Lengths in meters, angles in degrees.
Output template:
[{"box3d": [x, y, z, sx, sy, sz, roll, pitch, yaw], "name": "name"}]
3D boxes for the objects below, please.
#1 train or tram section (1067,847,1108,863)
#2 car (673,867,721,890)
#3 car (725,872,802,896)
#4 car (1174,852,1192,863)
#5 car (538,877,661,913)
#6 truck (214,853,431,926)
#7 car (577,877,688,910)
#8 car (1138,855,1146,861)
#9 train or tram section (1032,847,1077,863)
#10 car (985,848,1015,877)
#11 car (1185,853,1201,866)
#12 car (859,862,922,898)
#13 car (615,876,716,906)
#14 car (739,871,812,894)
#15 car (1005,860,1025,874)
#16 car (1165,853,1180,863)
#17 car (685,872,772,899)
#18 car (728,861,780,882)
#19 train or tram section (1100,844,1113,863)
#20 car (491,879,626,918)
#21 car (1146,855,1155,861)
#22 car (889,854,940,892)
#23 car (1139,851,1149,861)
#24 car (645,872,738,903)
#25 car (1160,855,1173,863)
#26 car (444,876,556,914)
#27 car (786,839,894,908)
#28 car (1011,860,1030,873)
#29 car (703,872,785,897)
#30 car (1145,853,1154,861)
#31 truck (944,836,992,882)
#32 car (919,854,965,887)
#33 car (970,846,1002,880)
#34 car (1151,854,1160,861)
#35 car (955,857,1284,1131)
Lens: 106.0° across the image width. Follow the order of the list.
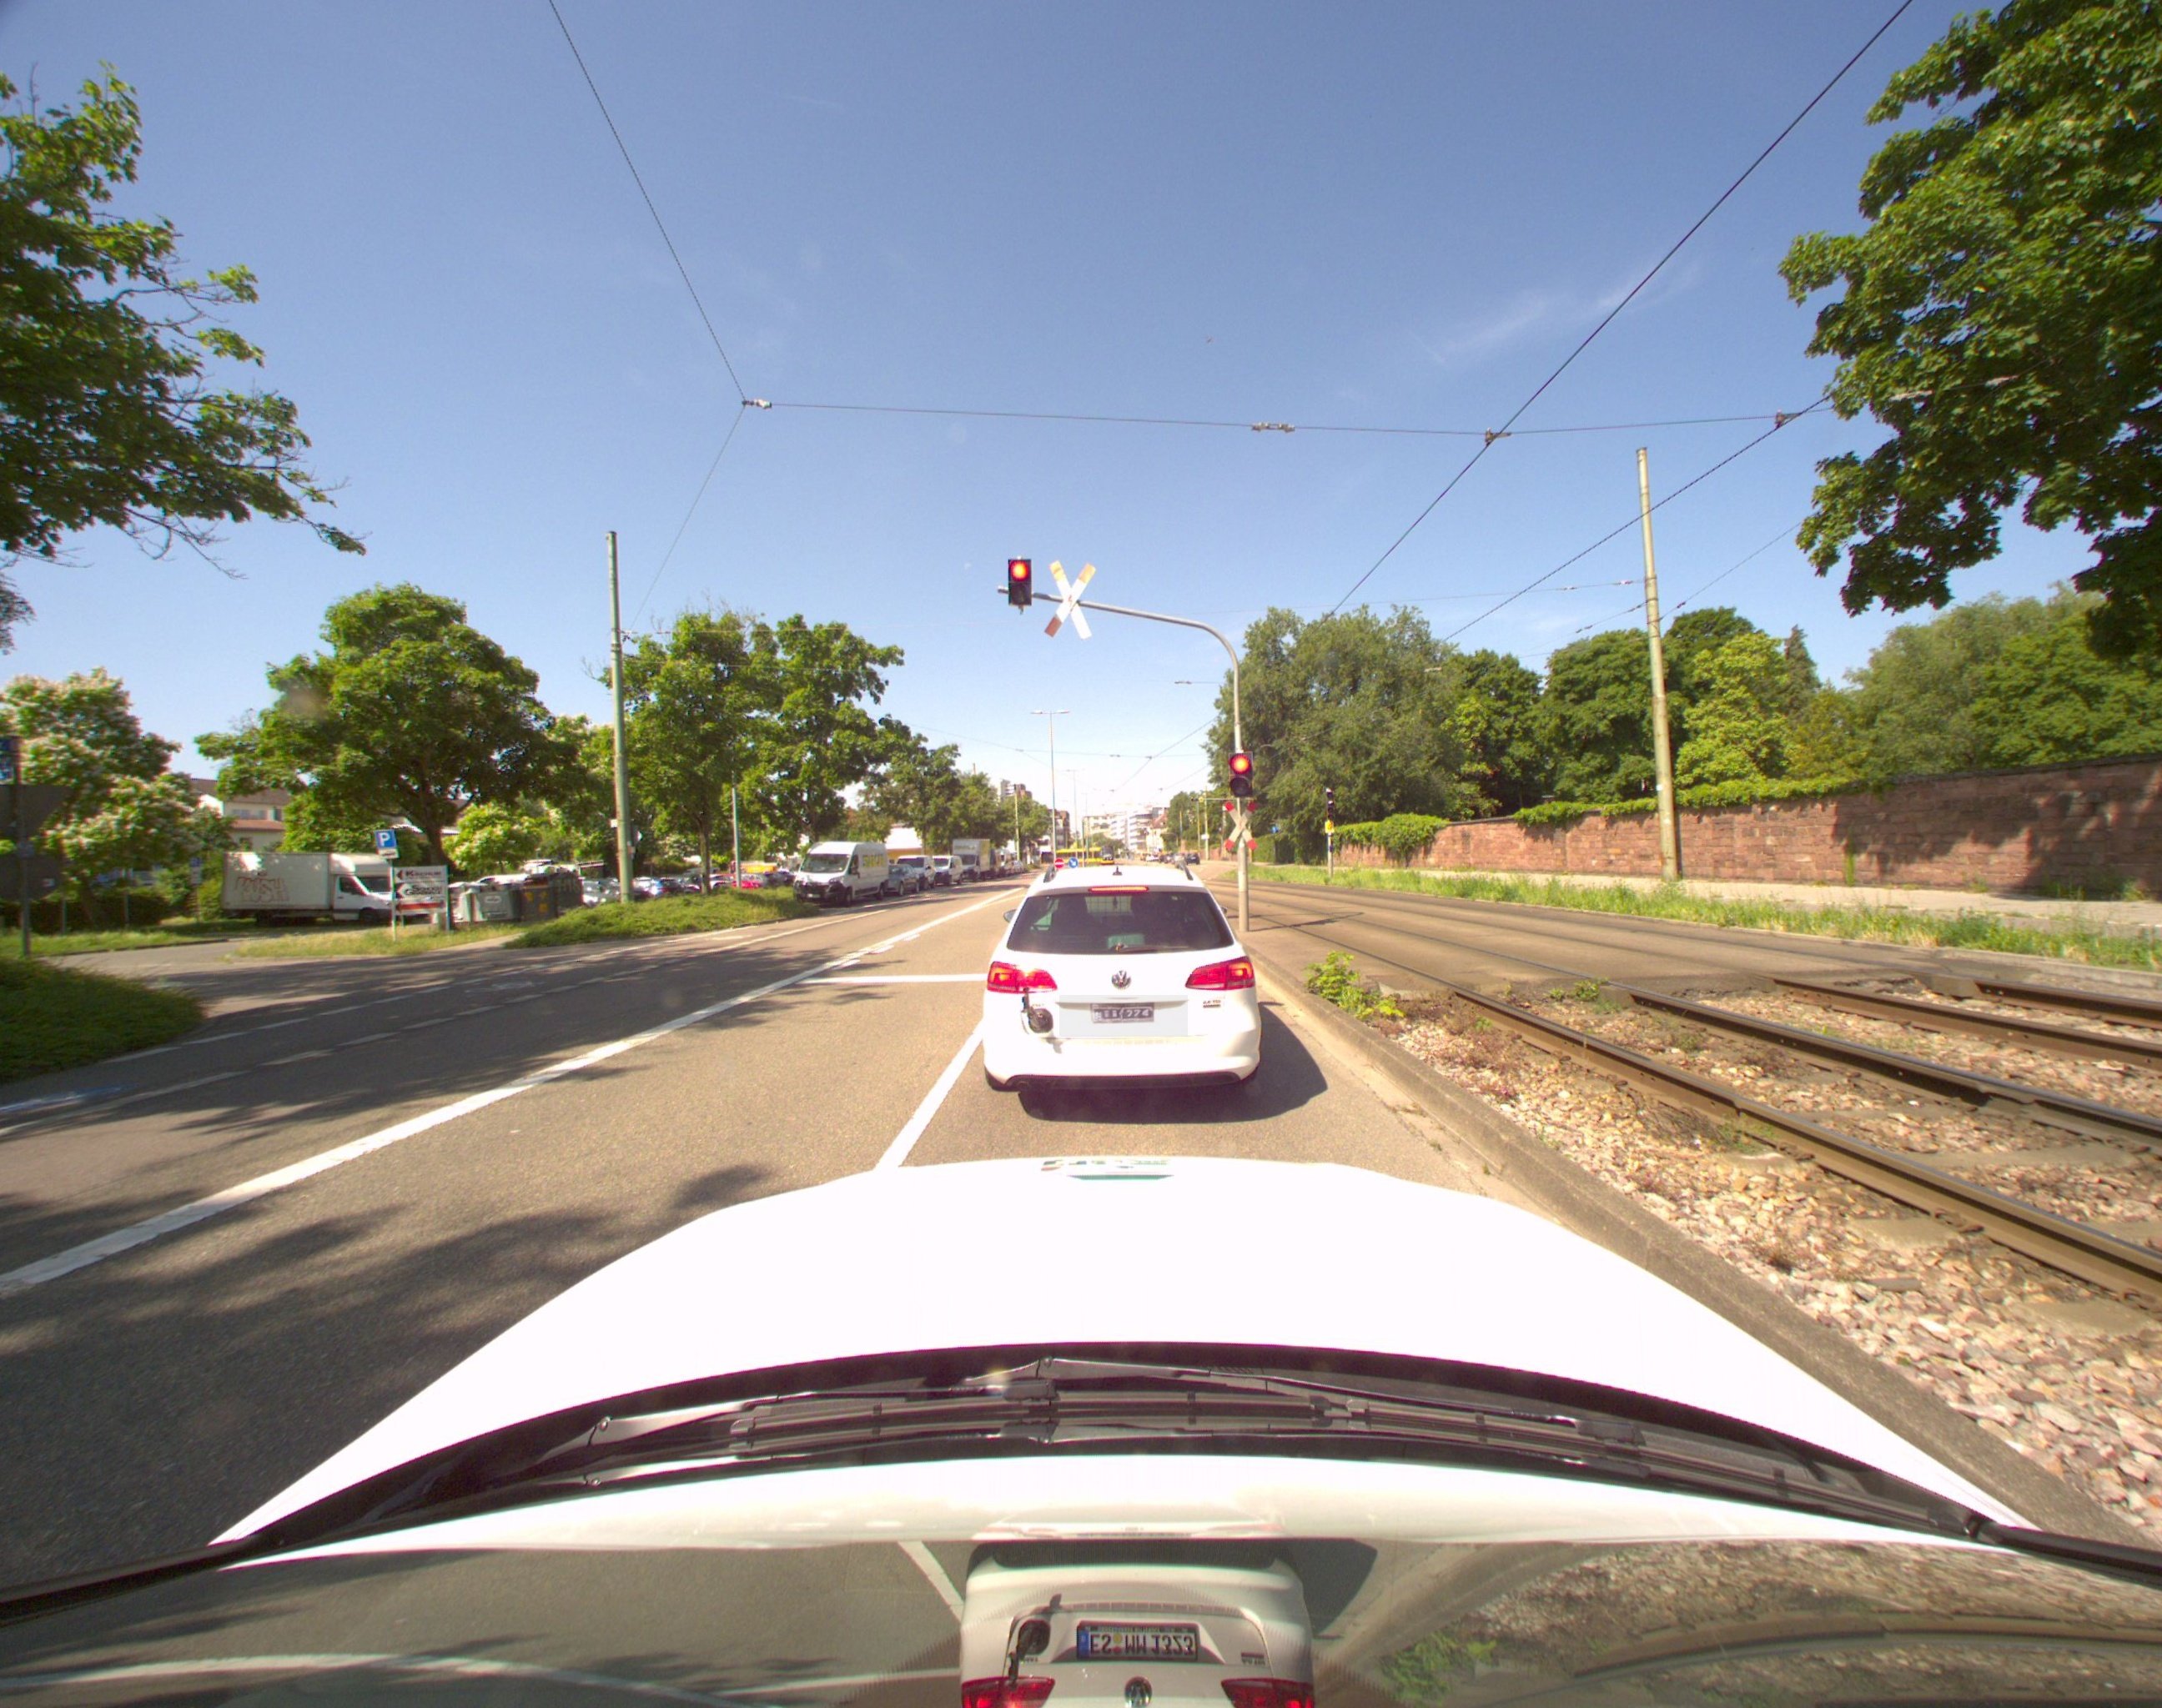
[{"box3d": [1.260, 0.204, 167.571, 2.319, 3.253, 10.686, 0, -1, -37], "name": "train or tram section"}, {"box3d": [-34.353, 2.172, 72.919, 3.412, 1.876, 1.552, -3, 0, -1], "name": "car"}, {"box3d": [-19.514, 1.818, 50.125, 3.969, 1.225, 1.773, -3, 0, 4], "name": "car"}, {"box3d": [13.427, 0.499, 107.554, 1.855, 1.416, 4.325, 0, 0, 0], "name": "car"}, {"box3d": [-19.905, 1.695, 33.790, 3.974, 1.225, 1.771, -3, 0, 0], "name": "car"}, {"box3d": [-32.475, 1.484, 35.021, 7.119, 3.019, 2.231, 0, 0, -1], "name": "truck"}, {"box3d": [-20.100, 1.747, 36.614, 3.969, 1.225, 1.773, -3, 0, 4], "name": "car"}, {"box3d": [16.690, 1.130, 223.941, 1.986, 1.596, 4.002, 0, -1, 2], "name": "car"}, {"box3d": [-5.776, 0.317, 175.010, 10.668, 3.253, 2.323, -1, -1, 39], "name": "train or tram section"}, {"box3d": [-7.534, 0.742, 76.209, 1.836, 2.494, 5.860, -3, 0, 2], "name": "car"}, {"box3d": [12.915, 0.621, 94.246, 1.737, 1.388, 3.920, -1, 0, 6], "name": "car"}, {"box3d": [-9.071, 1.194, 39.107, 1.837, 1.516, 4.199, -3, 0, 2], "name": "car"}, {"box3d": [-20.282, 1.798, 39.847, 3.969, 1.225, 1.773, -3, 0, 4], "name": "car"}, {"box3d": [-19.640, 1.843, 52.453, 3.969, 1.225, 1.773, -3, 0, 4], "name": "car"}, {"box3d": [-7.425, 1.493, 91.921, 1.837, 1.433, 4.039, -3, 0, 2], "name": "car"}, {"box3d": [13.702, 0.602, 121.841, 1.855, 1.513, 3.913, 0, 0, 0], "name": "car"}, {"box3d": [-19.414, 1.726, 44.928, 3.969, 1.264, 1.773, -3, 0, 4], "name": "car"}, {"box3d": [-31.254, 1.682, 77.944, 4.249, 2.014, 1.997, 0, -1, -5], "name": "car"}, {"box3d": [4.701, -0.056, 147.924, 2.292, 3.253, 11.279, 0, -1, 2], "name": "train or tram section"}, {"box3d": [-20.002, 1.694, 31.309, 3.974, 1.225, 1.771, -3, 0, 0], "name": "car"}, {"box3d": [14.988, 0.920, 175.544, 1.576, 1.346, 3.455, 0, -1, 1], "name": "car"}, {"box3d": [-9.275, 1.029, 45.741, 1.839, 1.937, 5.189, -3, 0, -2], "name": "car"}, {"box3d": [16.075, 0.555, 207.878, 2.454, 2.499, 5.912, 0, -1, 1], "name": "car"}, {"box3d": [-20.291, 1.725, 42.530, 3.969, 1.350, 1.773, -3, 0, 4], "name": "car"}, {"box3d": [14.332, 0.838, 136.986, 1.740, 1.407, 3.912, 0, 0, 0], "name": "car"}, {"box3d": [-32.200, 2.230, 45.230, 4.683, 2.014, 1.997, 0, -1, -4], "name": "car"}, {"box3d": [-9.554, 0.700, 32.943, 2.049, 2.501, 6.315, 0, 0, 4], "name": "car"}, {"box3d": [-7.127, 1.473, 96.953, 1.774, 1.433, 4.039, -3, 0, 2], "name": "car"}, {"box3d": [-19.649, 1.780, 47.530, 3.969, 1.225, 1.773, -3, 0, 4], "name": "car"}, {"box3d": [15.820, 0.760, 188.240, 1.685, 1.812, 3.455, 0, -1, 1], "name": "car"}, {"box3d": [-8.314, 0.378, 60.681, 2.348, 3.122, 6.892, -3, 0, 1], "name": "truck"}, {"box3d": [-8.854, 0.999, 52.315, 1.836, 1.960, 5.137, -3, 0, 2], "name": "car"}, {"box3d": [-7.956, 0.749, 68.479, 1.836, 2.668, 5.006, -3, 0, 2], "name": "car"}, {"box3d": [14.415, 0.698, 157.121, 1.576, 1.346, 3.455, 0, -1, 1], "name": "car"}, {"box3d": [0.243, 0.757, 6.337, 1.762, 1.446, 3.913, 0, 0, 1], "name": "car"}]
